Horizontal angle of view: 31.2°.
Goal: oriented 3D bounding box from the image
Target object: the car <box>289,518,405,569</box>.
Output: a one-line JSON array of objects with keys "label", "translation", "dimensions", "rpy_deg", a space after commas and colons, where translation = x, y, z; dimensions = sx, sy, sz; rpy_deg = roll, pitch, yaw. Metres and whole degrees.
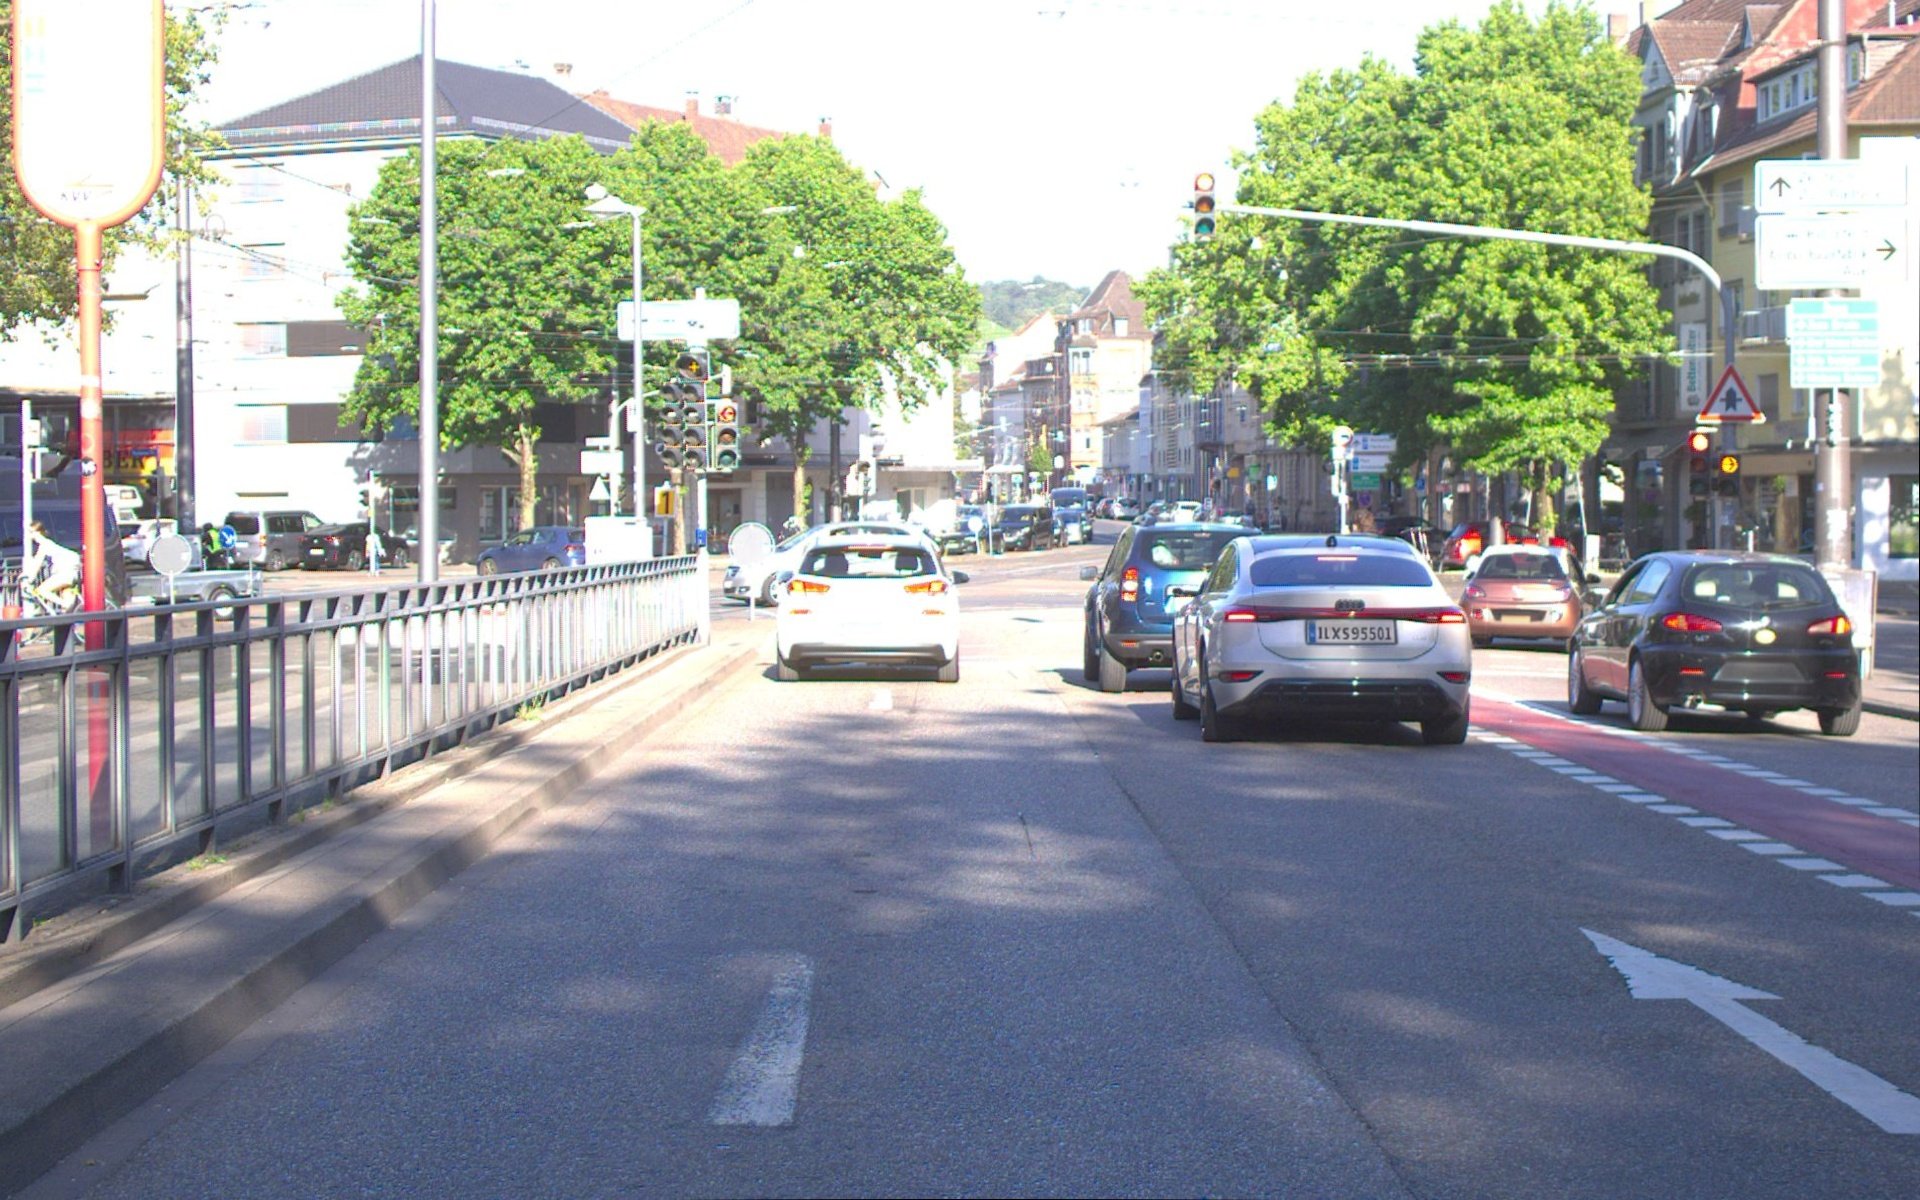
[{"label": "car", "translation": [-20.098, -1.878, 112.841], "dimensions": [1.923, 1.643, 4.176], "rpy_deg": [0, 1, 20]}]

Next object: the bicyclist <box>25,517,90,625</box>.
[{"label": "bicyclist", "translation": [-11.908, -0.389, 45.383], "dimensions": [0.800, 1.409, 0.527], "rpy_deg": [0, 1, -13]}]

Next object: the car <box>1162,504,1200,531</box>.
[{"label": "car", "translation": [12.348, -4.622, 192.098], "dimensions": [1.794, 1.505, 4.000], "rpy_deg": [0, 1, -1]}]

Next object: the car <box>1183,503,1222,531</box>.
[{"label": "car", "translation": [13.095, -4.466, 185.939], "dimensions": [1.794, 1.505, 4.000], "rpy_deg": [0, 1, -1]}]

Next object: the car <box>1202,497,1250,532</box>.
[{"label": "car", "translation": [13.869, -4.453, 179.409], "dimensions": [2.105, 1.770, 4.342], "rpy_deg": [0, 1, -1]}]

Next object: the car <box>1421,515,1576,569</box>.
[{"label": "car", "translation": [15.206, -1.655, 97.144], "dimensions": [3.986, 1.505, 1.801], "rpy_deg": [0, 1, -9]}]

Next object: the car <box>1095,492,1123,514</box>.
[{"label": "car", "translation": [10.474, -6.837, 241.795], "dimensions": [1.794, 1.505, 4.000], "rpy_deg": [0, 1, -1]}]

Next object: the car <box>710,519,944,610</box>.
[{"label": "car", "translation": [-2.560, -0.680, 65.717], "dimensions": [4.145, 1.686, 1.822], "rpy_deg": [0, 1, -15]}]

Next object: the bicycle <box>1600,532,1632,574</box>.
[{"label": "bicycle", "translation": [17.351, -1.248, 90.993], "dimensions": [0.609, 1.104, 1.800], "rpy_deg": [0, 1, 4]}]

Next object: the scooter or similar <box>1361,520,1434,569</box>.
[{"label": "scooter or similar", "translation": [11.613, -1.477, 91.244], "dimensions": [1.949, 1.276, 0.552], "rpy_deg": [1, 2, 41]}]

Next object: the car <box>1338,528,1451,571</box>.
[{"label": "car", "translation": [15.392, -1.792, 121.642], "dimensions": [3.989, 1.505, 1.799], "rpy_deg": [-1, 2, -42]}]

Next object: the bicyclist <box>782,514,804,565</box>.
[{"label": "bicyclist", "translation": [-5.699, -2.065, 117.329], "dimensions": [0.468, 1.739, 0.716], "rpy_deg": [0, 1, 23]}]

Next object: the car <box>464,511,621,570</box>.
[{"label": "car", "translation": [-11.024, -1.579, 90.649], "dimensions": [3.996, 1.505, 1.796], "rpy_deg": [1, 1, 38]}]

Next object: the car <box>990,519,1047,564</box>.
[{"label": "car", "translation": [2.449, -2.444, 143.186], "dimensions": [1.795, 1.820, 3.999], "rpy_deg": [0, 1, 10]}]

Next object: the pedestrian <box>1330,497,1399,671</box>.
[{"label": "pedestrian", "translation": [4.377, -0.179, 37.243], "dimensions": [0.657, 1.864, 0.678], "rpy_deg": [0, 1, -1]}]

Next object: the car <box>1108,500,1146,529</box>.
[{"label": "car", "translation": [11.485, -5.882, 236.344], "dimensions": [2.327, 2.007, 4.977], "rpy_deg": [0, 1, -1]}]

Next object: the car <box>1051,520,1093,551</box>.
[{"label": "car", "translation": [5.391, -3.114, 165.781], "dimensions": [1.794, 1.505, 4.001], "rpy_deg": [0, 1, -2]}]

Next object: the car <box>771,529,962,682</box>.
[{"label": "car", "translation": [-0.935, 0.012, 34.936], "dimensions": [1.808, 1.447, 4.000], "rpy_deg": [1, 1, -1]}]

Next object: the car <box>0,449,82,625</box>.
[{"label": "car", "translation": [-15.936, -0.997, 54.082], "dimensions": [2.068, 2.733, 5.028], "rpy_deg": [1, 0, 12]}]

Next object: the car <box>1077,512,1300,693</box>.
[{"label": "car", "translation": [2.137, -0.021, 33.142], "dimensions": [1.800, 1.632, 4.045], "rpy_deg": [0, 1, -1]}]

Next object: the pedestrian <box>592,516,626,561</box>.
[{"label": "pedestrian", "translation": [-11.711, -2.048, 114.728], "dimensions": [0.803, 1.479, 0.861], "rpy_deg": [0, 1, 26]}]

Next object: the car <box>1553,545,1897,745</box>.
[{"label": "car", "translation": [6.090, 0.305, 27.818], "dimensions": [1.800, 1.434, 4.045], "rpy_deg": [1, 1, -1]}]

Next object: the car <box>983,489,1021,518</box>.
[{"label": "car", "translation": [2.190, -5.047, 180.676], "dimensions": [1.794, 1.505, 4.001], "rpy_deg": [0, 1, -2]}]

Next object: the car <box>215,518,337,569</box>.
[{"label": "car", "translation": [-22.562, -1.882, 113.549], "dimensions": [1.797, 1.643, 4.004], "rpy_deg": [1, 1, 29]}]

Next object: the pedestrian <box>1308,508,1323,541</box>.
[{"label": "pedestrian", "translation": [17.651, -3.745, 170.580], "dimensions": [0.648, 1.645, 0.650], "rpy_deg": [1, 0, 10]}]

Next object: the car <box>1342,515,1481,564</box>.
[{"label": "car", "translation": [14.097, -1.887, 107.425], "dimensions": [3.986, 1.505, 1.800], "rpy_deg": [0, 1, -6]}]

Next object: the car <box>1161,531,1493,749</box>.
[{"label": "car", "translation": [2.655, 0.224, 25.973], "dimensions": [1.929, 1.467, 4.855], "rpy_deg": [0, 1, -1]}]

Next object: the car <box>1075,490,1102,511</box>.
[{"label": "car", "translation": [9.761, -7.568, 261.615], "dimensions": [1.794, 1.505, 4.000], "rpy_deg": [0, 1, -1]}]

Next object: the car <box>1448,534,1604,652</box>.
[{"label": "car", "translation": [8.051, -0.140, 48.664], "dimensions": [1.795, 1.505, 3.998], "rpy_deg": [1, 2, 15]}]

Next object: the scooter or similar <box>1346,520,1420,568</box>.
[{"label": "scooter or similar", "translation": [11.154, -1.480, 90.694], "dimensions": [1.949, 1.276, 0.552], "rpy_deg": [1, 2, 41]}]

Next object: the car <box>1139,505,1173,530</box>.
[{"label": "car", "translation": [12.061, -5.069, 211.332], "dimensions": [1.794, 1.517, 4.000], "rpy_deg": [0, 1, -1]}]

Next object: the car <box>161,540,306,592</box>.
[{"label": "car", "translation": [-21.702, -1.026, 102.669], "dimensions": [3.993, 1.505, 1.797], "rpy_deg": [1, 1, 26]}]

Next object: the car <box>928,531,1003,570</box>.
[{"label": "car", "translation": [0.239, -1.943, 135.758], "dimensions": [1.796, 1.505, 3.996], "rpy_deg": [0, 1, 18]}]

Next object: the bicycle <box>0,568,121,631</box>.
[{"label": "bicycle", "translation": [-11.910, -0.011, 45.391], "dimensions": [1.611, 0.813, 0.527], "rpy_deg": [0, 1, -13]}]
